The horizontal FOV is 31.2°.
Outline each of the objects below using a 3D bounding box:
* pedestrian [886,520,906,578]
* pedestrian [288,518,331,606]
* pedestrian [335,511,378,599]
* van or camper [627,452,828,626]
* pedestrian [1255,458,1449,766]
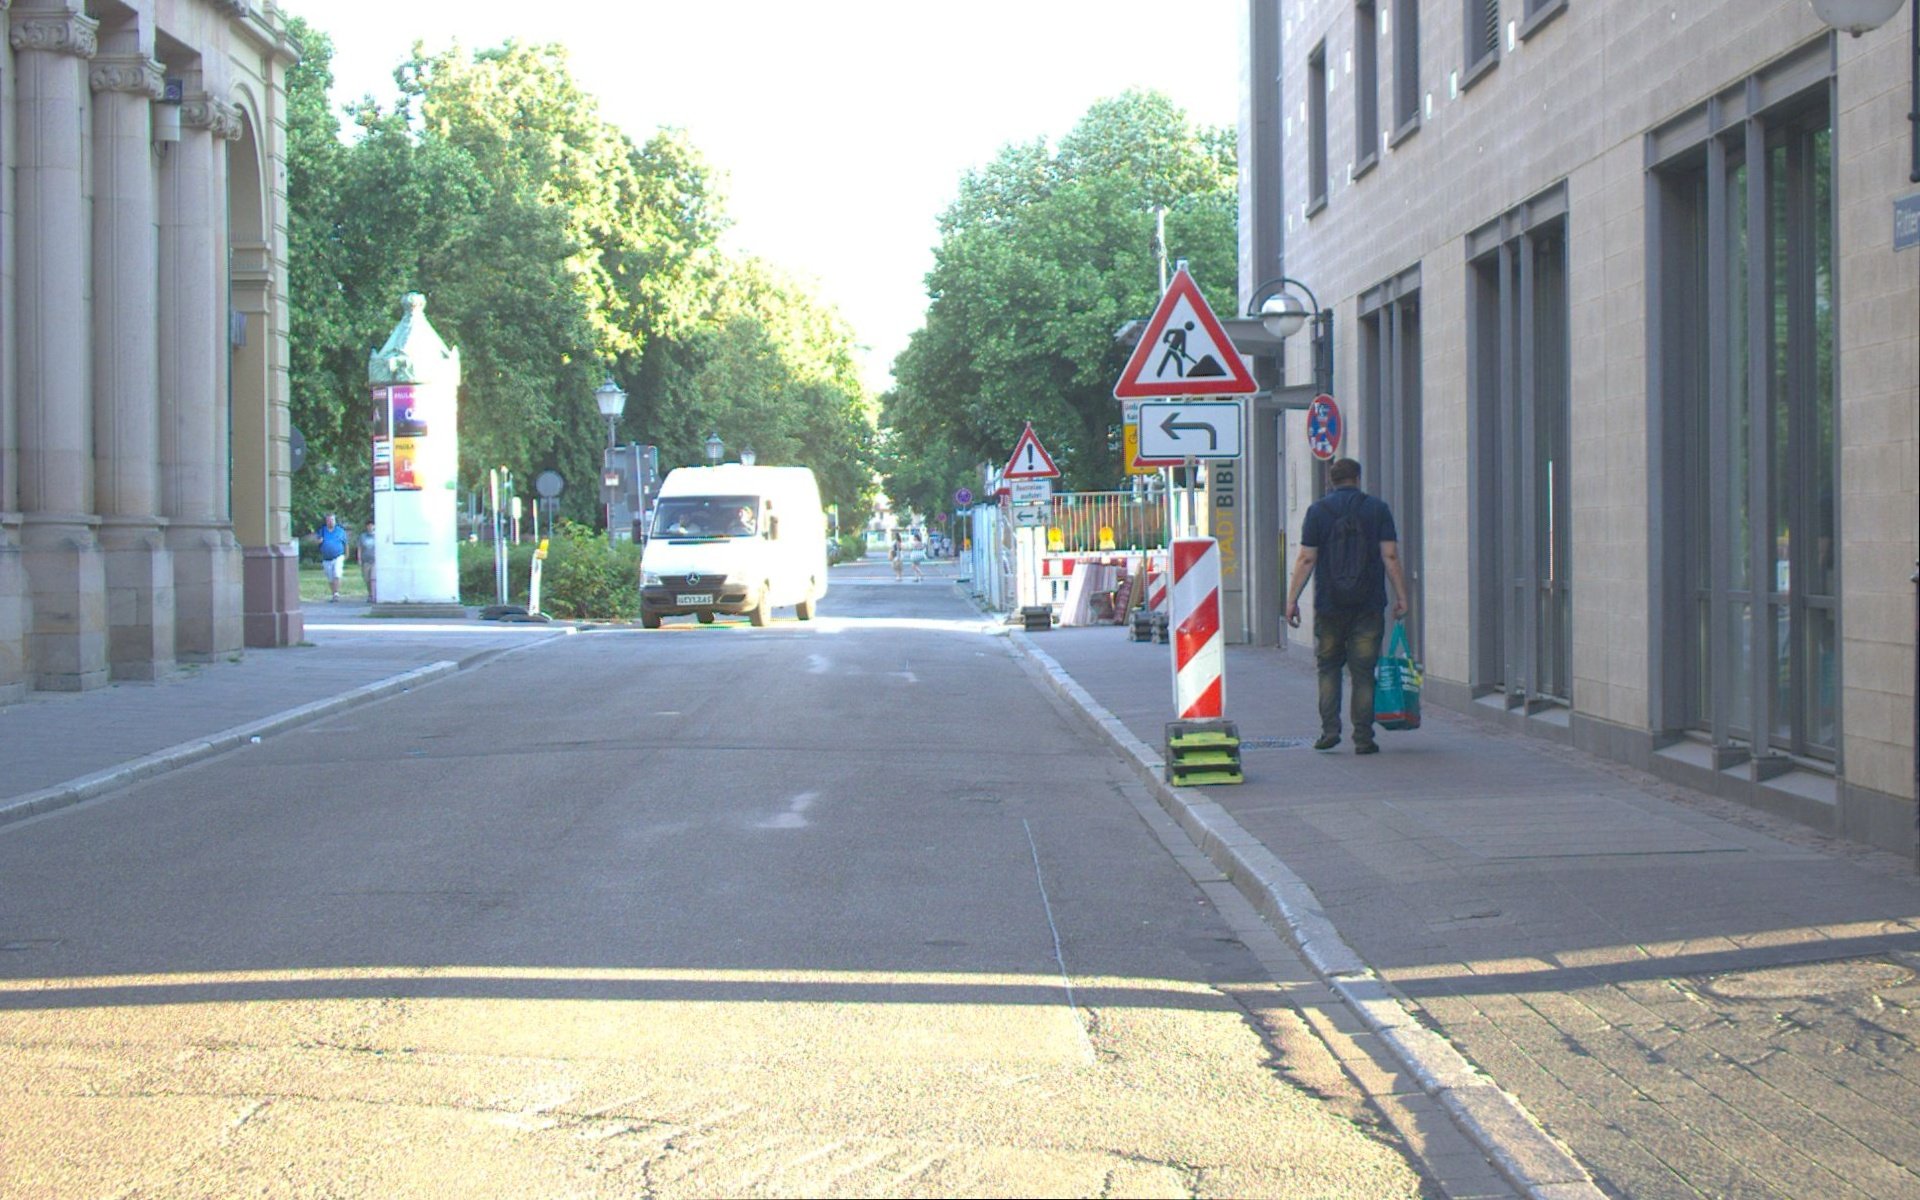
[{"bbox_3d":[-2.212,-1.756,118.845,0.581,2.007,0.682,0,1,-9],"label":"pedestrian"},{"bbox_3d":[-13.397,-0.784,70.807,0.849,1.801,0.664,0,1,-14],"label":"pedestrian"},{"bbox_3d":[-12.471,-0.927,71.032,0.849,1.801,0.664,0,1,-14],"label":"pedestrian"},{"bbox_3d":[-3.574,-0.980,54.182,2.219,2.576,6.371,0,1,5],"label":"van or camper"},{"bbox_3d":[2.359,0.069,20.795,1.000,1.797,0.882,-2,0,-1],"label":"pedestrian"}]
